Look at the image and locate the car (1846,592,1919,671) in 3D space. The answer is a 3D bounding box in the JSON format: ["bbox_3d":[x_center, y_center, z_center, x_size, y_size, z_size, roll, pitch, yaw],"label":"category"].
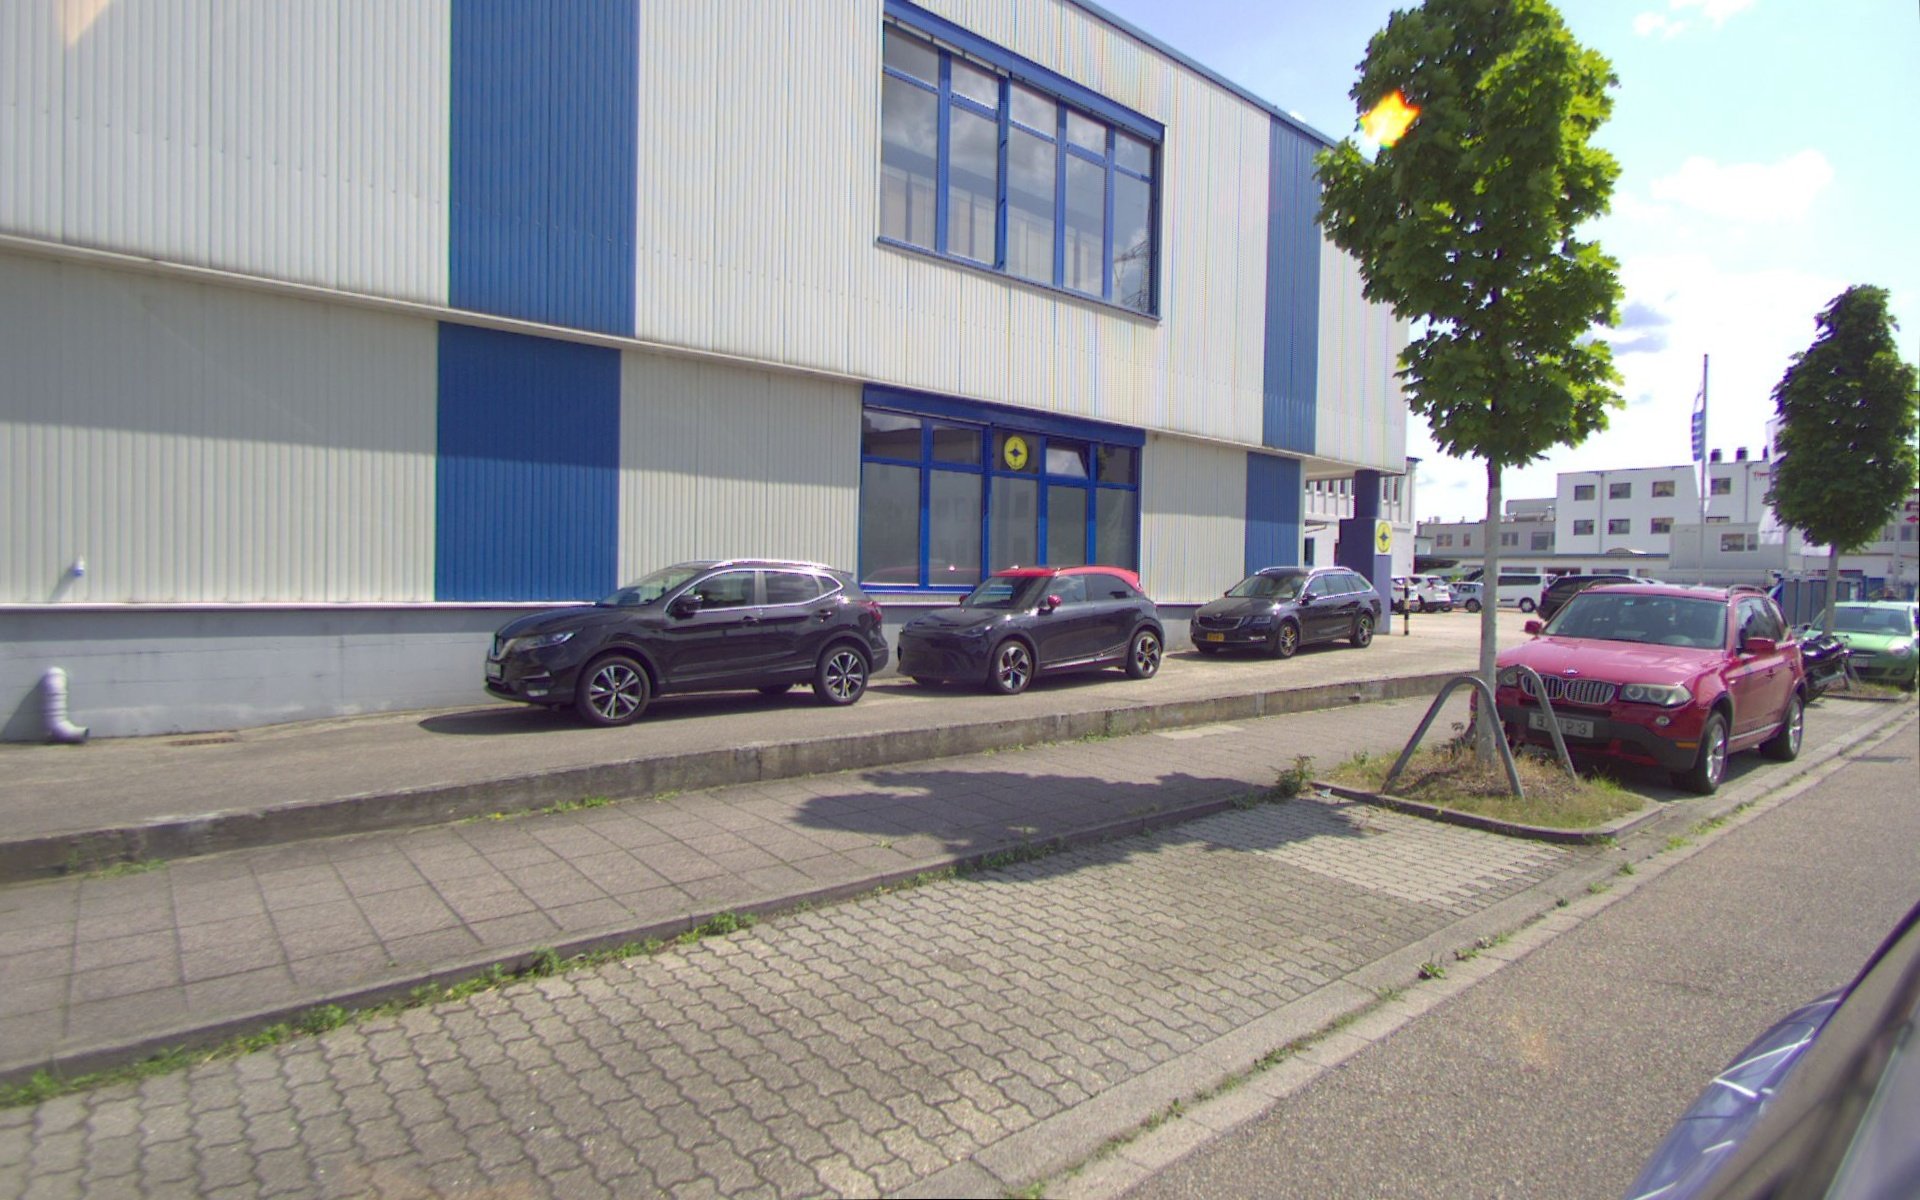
[{"bbox_3d":[20.477,0.612,21.592,4.384,1.539,1.838,-1,1,-41],"label":"car"}]

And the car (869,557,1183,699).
[{"bbox_3d":[1.021,0.250,14.186,4.215,1.677,1.997,-2,3,-41],"label":"car"}]

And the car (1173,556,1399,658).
[{"bbox_3d":[6.038,0.030,18.451,4.561,1.530,1.831,-4,4,-41],"label":"car"}]

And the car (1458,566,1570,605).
[{"bbox_3d":[29.160,-0.769,53.402,2.235,1.961,4.691,0,1,-38],"label":"car"}]

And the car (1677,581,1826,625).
[{"bbox_3d":[29.031,0.063,37.209,1.964,1.437,3.996,0,2,-40],"label":"car"}]

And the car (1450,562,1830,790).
[{"bbox_3d":[6.578,0.515,9.570,4.594,1.671,1.759,-1,1,-40],"label":"car"}]

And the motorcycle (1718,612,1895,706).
[{"bbox_3d":[11.898,0.793,14.222,2.313,1.215,0.860,0,1,-20],"label":"motorcycle"}]

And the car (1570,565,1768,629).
[{"bbox_3d":[20.038,-0.133,28.720,2.111,1.667,4.232,0,1,-41],"label":"car"}]

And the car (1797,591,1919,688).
[{"bbox_3d":[16.568,0.624,18.236,3.925,1.539,1.671,-1,1,-41],"label":"car"}]

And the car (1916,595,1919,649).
[{"bbox_3d":[29.689,0.623,29.783,4.518,1.539,1.871,-1,1,-41],"label":"car"}]

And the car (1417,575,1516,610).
[{"bbox_3d":[24.813,-0.391,49.688,1.829,1.504,3.896,-1,3,-36],"label":"car"}]

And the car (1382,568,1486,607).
[{"bbox_3d":[22.080,-0.603,47.257,1.775,1.712,3.995,0,1,-41],"label":"car"}]

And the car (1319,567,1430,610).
[{"bbox_3d":[17.811,-0.524,43.591,1.901,1.723,3.995,0,1,-41],"label":"car"}]

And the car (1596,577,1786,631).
[{"bbox_3d":[21.923,0.063,30.488,1.964,1.437,4.289,0,2,-40],"label":"car"}]

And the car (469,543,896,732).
[{"bbox_3d":[-2.853,0.263,10.949,4.141,1.672,1.718,-2,2,-41],"label":"car"}]

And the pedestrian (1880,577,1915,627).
[{"bbox_3d":[34.089,0.066,36.787,0.773,1.778,0.771,0,3,-41],"label":"pedestrian"}]

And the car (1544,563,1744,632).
[{"bbox_3d":[18.226,-0.111,27.112,1.966,1.707,4.091,0,1,-41],"label":"car"}]

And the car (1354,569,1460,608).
[{"bbox_3d":[20.111,-0.559,45.613,1.775,1.650,3.995,0,1,-41],"label":"car"}]
